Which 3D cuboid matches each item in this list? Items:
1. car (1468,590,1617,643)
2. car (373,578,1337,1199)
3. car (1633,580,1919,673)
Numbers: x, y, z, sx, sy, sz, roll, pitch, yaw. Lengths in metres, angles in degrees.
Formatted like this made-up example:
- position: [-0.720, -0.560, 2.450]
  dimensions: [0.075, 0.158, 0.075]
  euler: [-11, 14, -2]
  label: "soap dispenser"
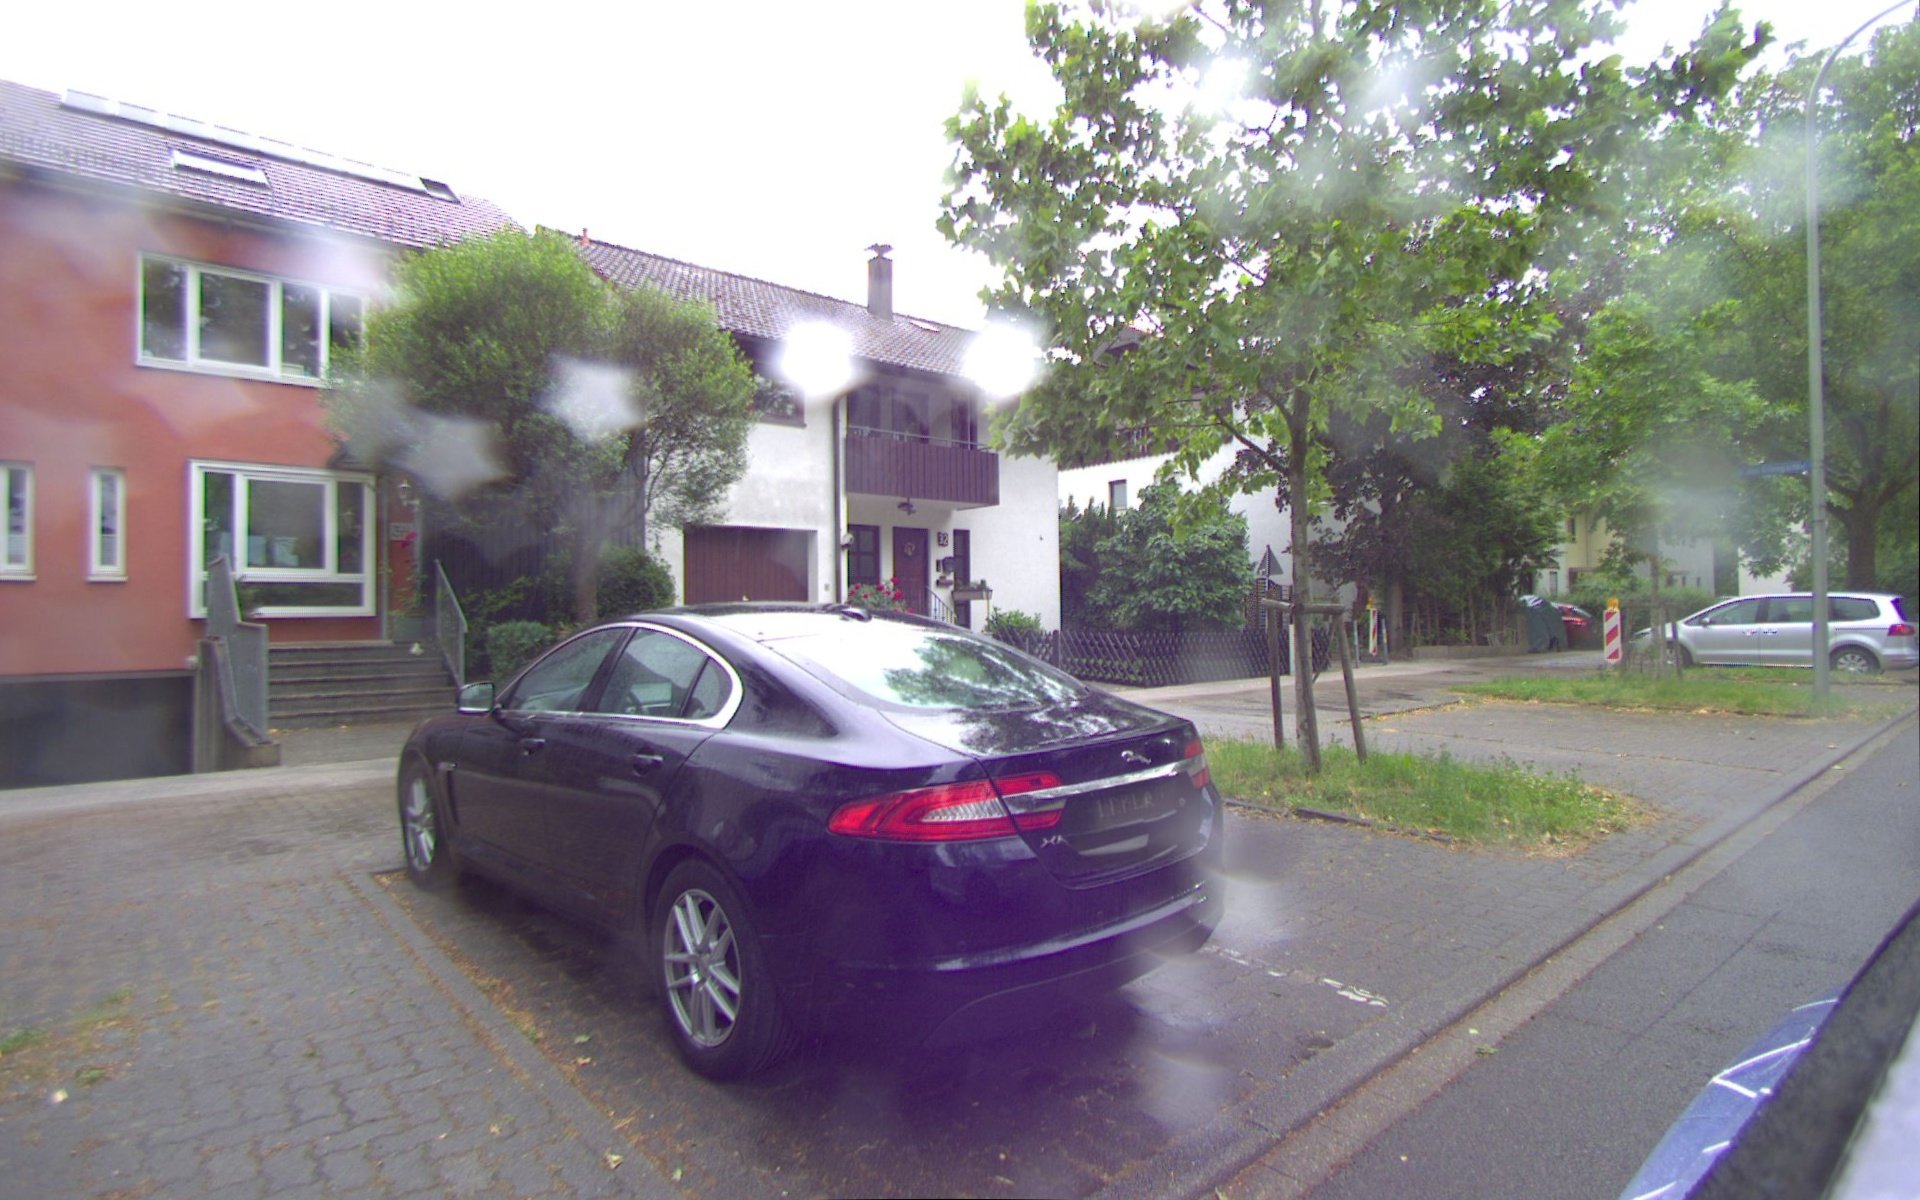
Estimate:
- position: [19.017, 0.517, 33.141]
  dimensions: [1.809, 1.633, 3.853]
  euler: [0, 0, -39]
  label: "car"
- position: [-0.979, 0.694, 4.669]
  dimensions: [1.905, 1.491, 4.769]
  euler: [0, 0, -44]
  label: "car"
- position: [16.645, 0.486, 20.490]
  dimensions: [1.942, 1.682, 4.694]
  euler: [0, 0, -42]
  label: "car"
